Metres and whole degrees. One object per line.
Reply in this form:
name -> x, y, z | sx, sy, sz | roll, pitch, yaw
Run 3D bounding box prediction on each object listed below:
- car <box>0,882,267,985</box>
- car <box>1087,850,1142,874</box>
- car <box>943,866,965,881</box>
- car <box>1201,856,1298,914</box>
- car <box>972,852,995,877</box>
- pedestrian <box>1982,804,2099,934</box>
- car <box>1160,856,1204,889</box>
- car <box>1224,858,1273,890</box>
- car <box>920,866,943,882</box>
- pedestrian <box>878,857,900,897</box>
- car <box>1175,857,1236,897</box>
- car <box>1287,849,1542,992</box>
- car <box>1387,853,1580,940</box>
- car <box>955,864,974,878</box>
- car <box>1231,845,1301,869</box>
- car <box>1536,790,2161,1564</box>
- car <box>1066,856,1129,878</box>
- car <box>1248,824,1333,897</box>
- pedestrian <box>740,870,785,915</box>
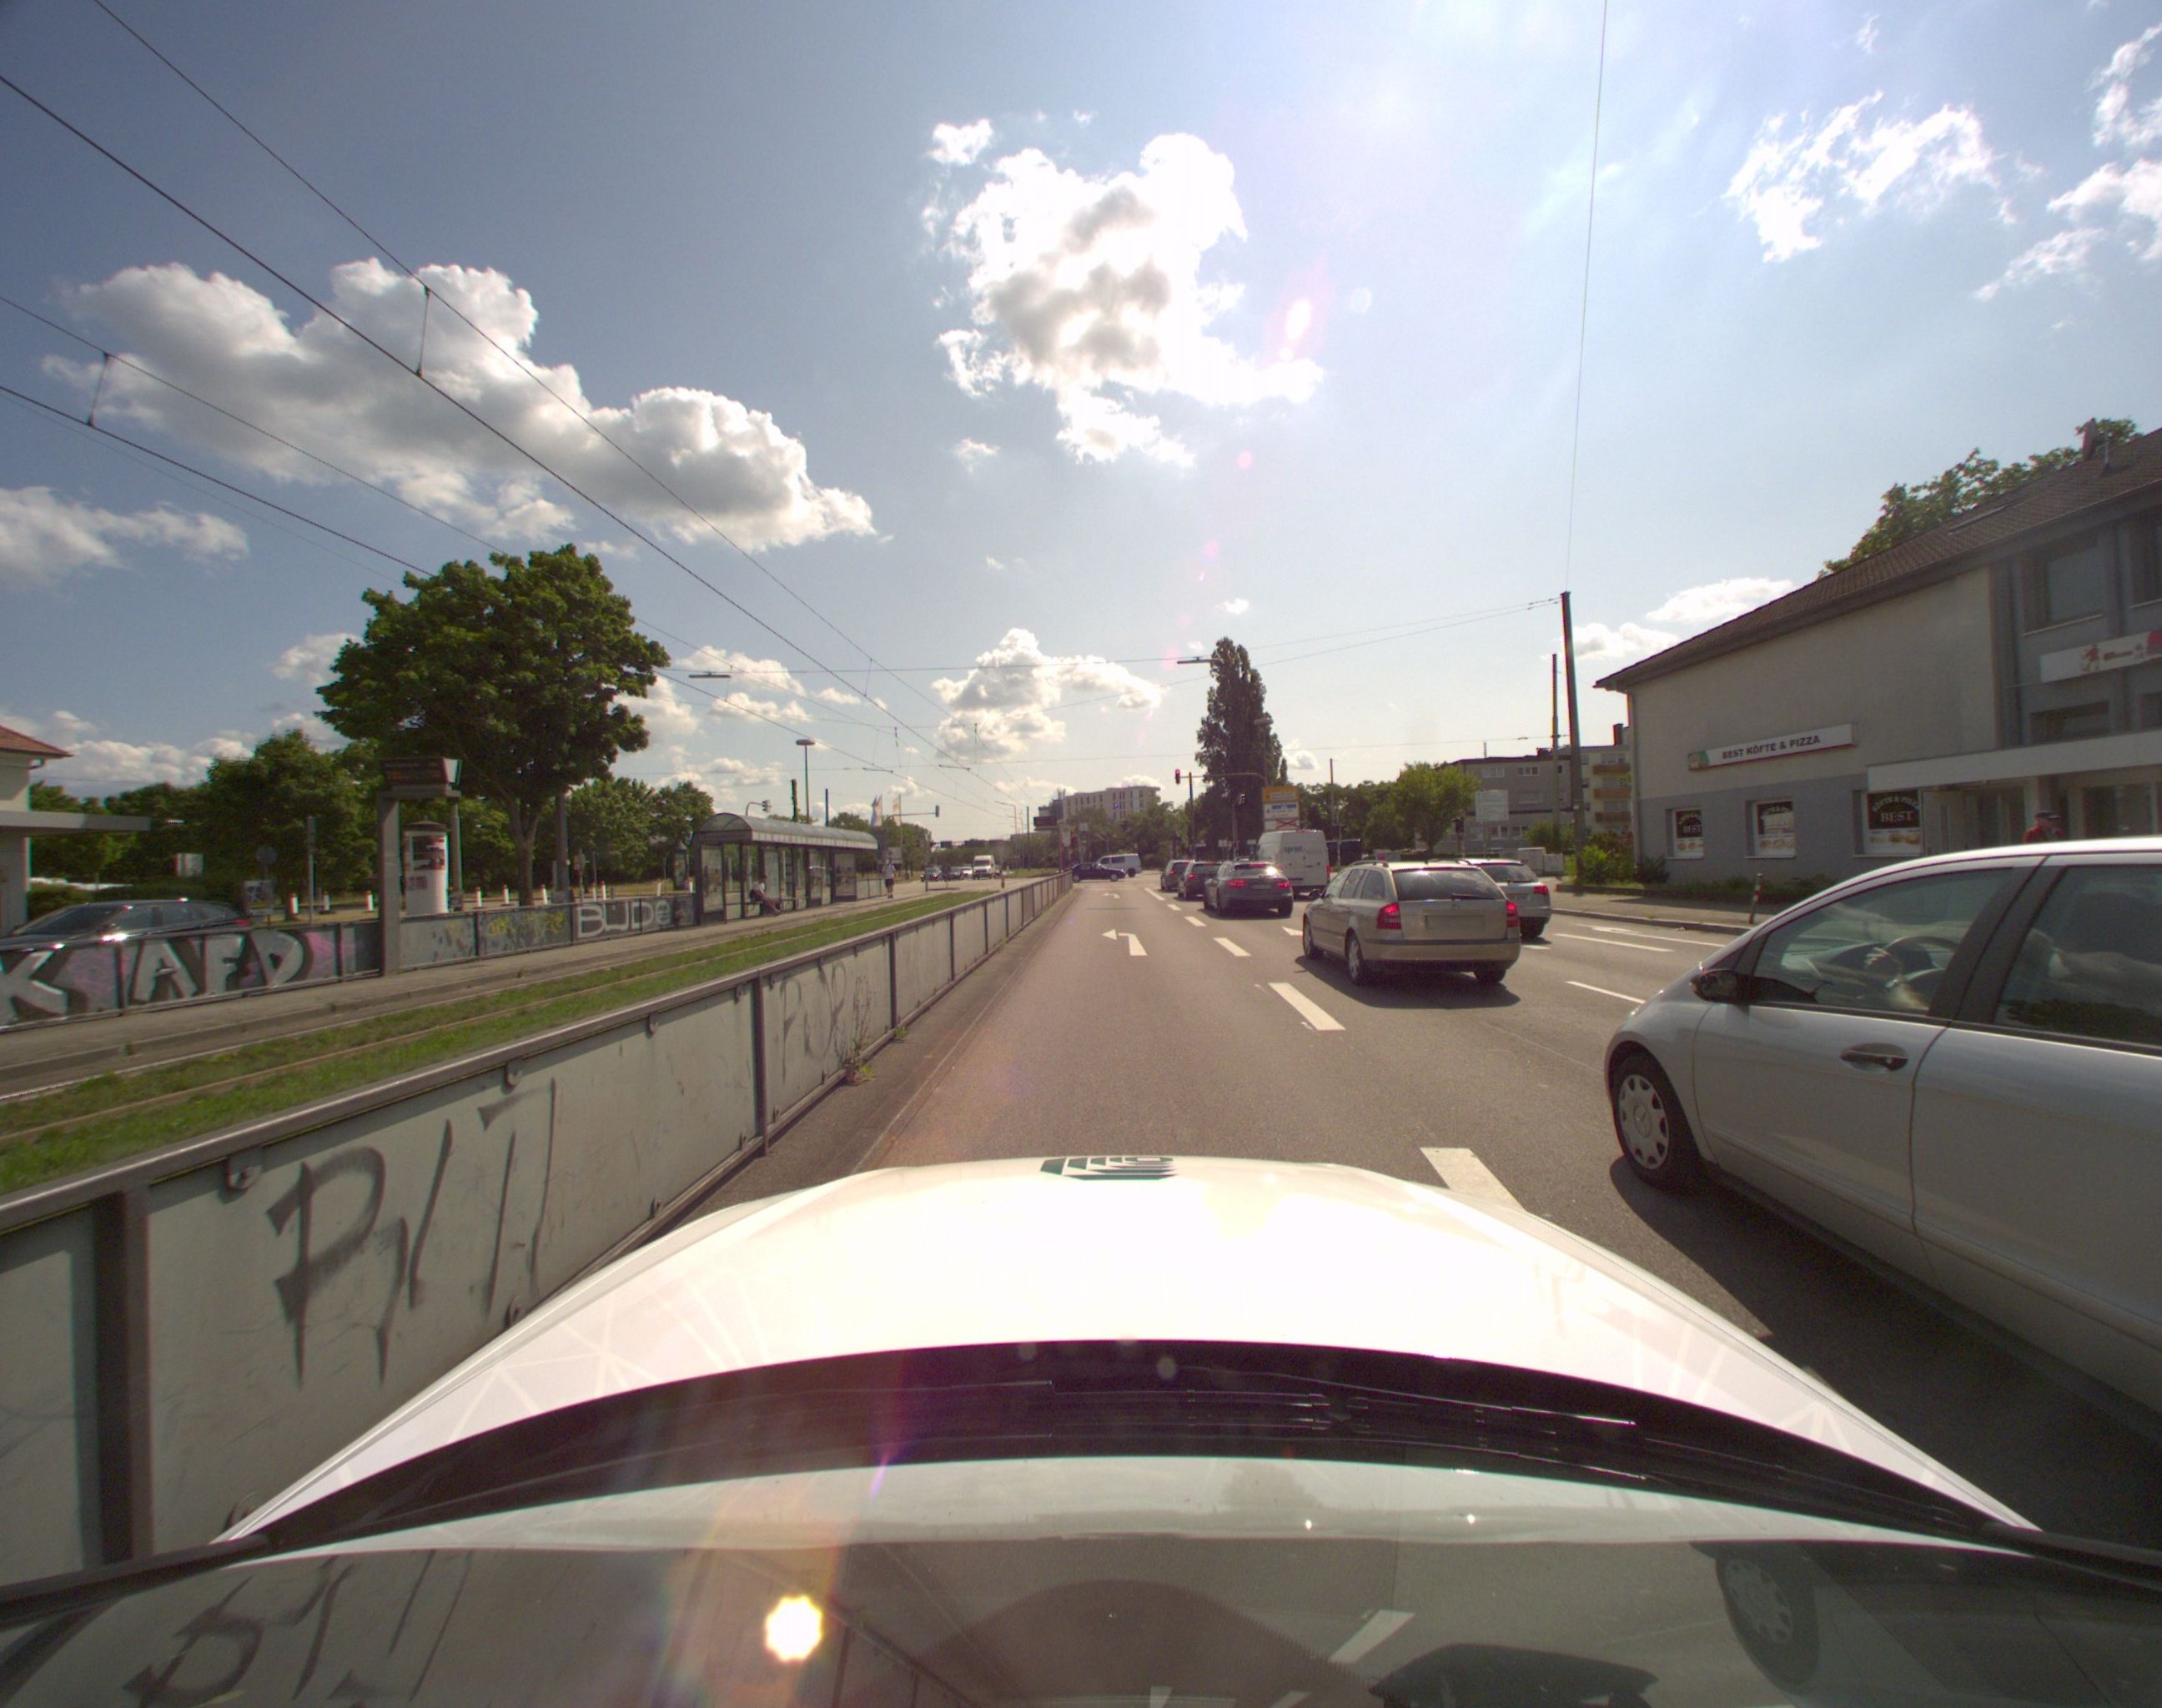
car -> -19.225, 1.430, 15.882 | 2.056, 1.614, 4.746 | -2, -1, -4
car -> 2.880, 0.710, 69.881 | 4.659, 1.936, 2.001 | -1, -1, 1
car -> -13.537, 2.100, 87.183 | 1.891, 1.541, 3.726 | 0, -1, -2
car -> 4.607, 0.798, 22.950 | 1.880, 1.448, 4.829 | 0, -1, 2
car -> -10.504, 1.135, 87.901 | 1.987, 2.606, 4.877 | 0, -1, 0
pedestrian -> 13.888, 0.208, 11.811 | 0.718, 1.783, 0.703 | -4, -1, 4
car -> 4.814, 0.864, 39.319 | 1.738, 1.499, 4.381 | 0, -1, 2
car -> 8.010, 0.928, 39.297 | 1.737, 1.448, 4.384 | 0, -1, 4
car -> -16.385, 2.191, 89.432 | 1.858, 1.651, 3.996 | 0, -1, -2
pedestrian -> -8.750, 1.024, 37.123 | 0.805, 1.795, 0.708 | -1, -1, -1
car -> 4.715, 0.844, 31.350 | 1.862, 1.420, 4.101 | 0, -1, 2
car -> 4.103, 0.726, 10.915 | 1.731, 1.492, 4.633 | -1, -1, 3
car -> 7.829, 0.752, 16.395 | 1.847, 1.492, 4.539 | -1, -1, 3
car -> -13.705, 1.984, 95.793 | 1.797, 1.541, 4.161 | 0, -1, -2
car -> 13.040, 0.231, 57.678 | 4.650, 1.549, 2.004 | -2, -1, 6
car -> 3.230, 0.648, 2.581 | 1.777, 1.577, 4.104 | -1, -1, 9
car -> 1.182, 0.905, 58.099 | 4.443, 1.514, 2.001 | 0, -1, 2
car -> 8.028, 0.264, 31.723 | 2.033, 2.557, 5.232 | -1, -1, 1
pedestrian -> -9.956, 1.190, 25.476 | 1.055, 1.376, 0.861 | 0, -1, 1
